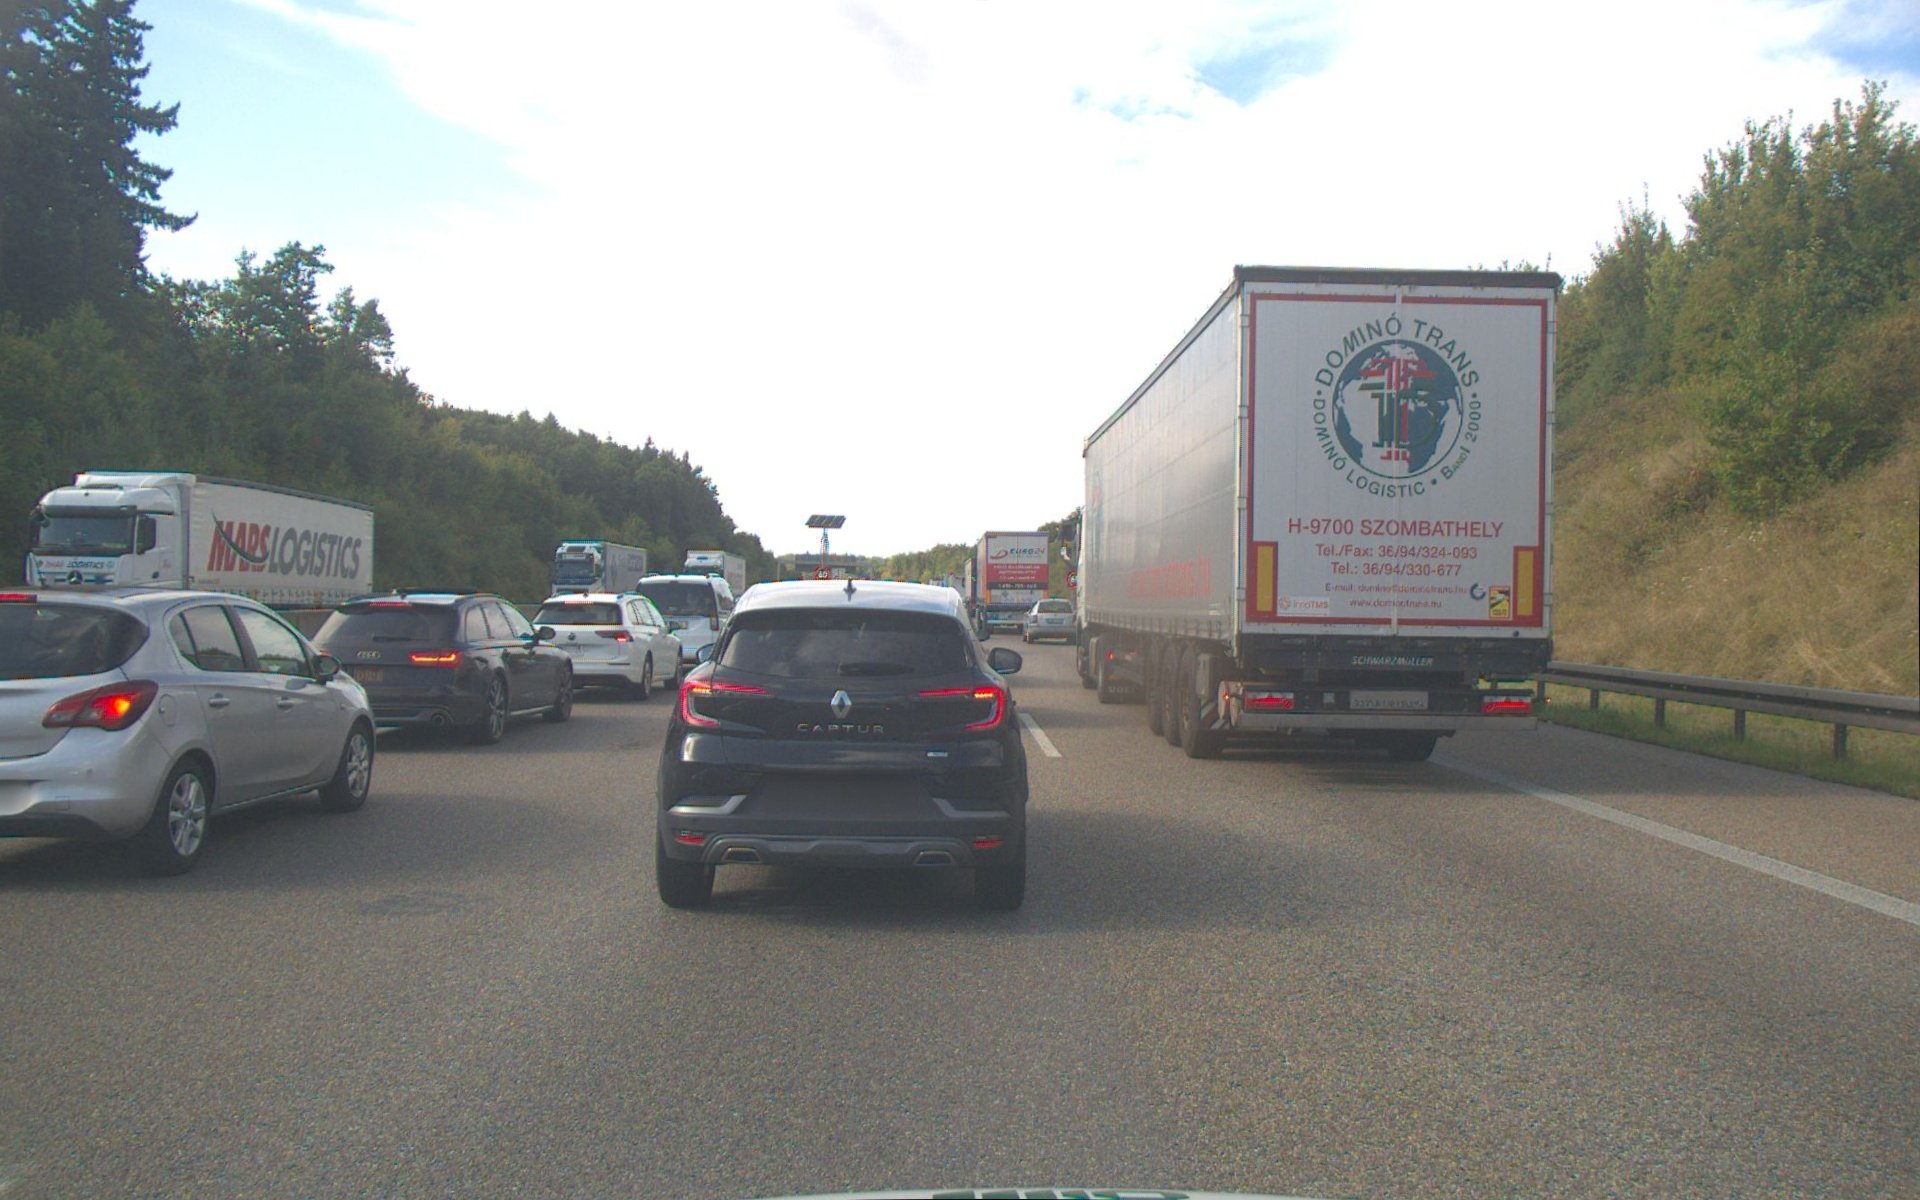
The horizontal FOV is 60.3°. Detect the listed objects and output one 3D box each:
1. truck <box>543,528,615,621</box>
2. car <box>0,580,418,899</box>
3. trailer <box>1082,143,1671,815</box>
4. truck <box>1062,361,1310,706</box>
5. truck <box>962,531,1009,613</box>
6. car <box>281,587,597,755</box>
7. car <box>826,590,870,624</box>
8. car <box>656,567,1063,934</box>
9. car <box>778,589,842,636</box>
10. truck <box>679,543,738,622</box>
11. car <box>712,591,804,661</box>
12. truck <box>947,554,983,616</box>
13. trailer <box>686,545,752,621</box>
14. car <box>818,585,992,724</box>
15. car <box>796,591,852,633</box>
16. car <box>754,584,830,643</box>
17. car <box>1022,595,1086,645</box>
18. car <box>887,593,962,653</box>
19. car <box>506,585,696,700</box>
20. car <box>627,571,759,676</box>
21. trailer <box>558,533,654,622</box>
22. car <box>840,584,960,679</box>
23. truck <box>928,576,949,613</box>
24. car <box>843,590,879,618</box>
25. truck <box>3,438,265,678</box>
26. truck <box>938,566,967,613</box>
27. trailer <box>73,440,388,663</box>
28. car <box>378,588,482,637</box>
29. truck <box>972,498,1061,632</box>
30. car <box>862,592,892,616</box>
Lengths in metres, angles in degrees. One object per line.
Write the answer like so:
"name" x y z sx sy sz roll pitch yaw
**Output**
"truck" -21.164 -1.368 92.076 2.872 4.943 4.764 1 -1 -1
"car" -4.693 0.635 9.736 1.711 1.491 4.040 0 0 -1
"trailer" 3.464 -0.882 18.437 2.941 4.742 13.287 1 0 -1
"truck" 3.324 -0.926 25.917 2.936 4.749 5.938 1 0 -1
"truck" 1.764 -1.896 120.129 3.102 5.601 12.736 1 0 0
"car" -5.229 0.631 17.325 1.805 1.481 4.747 1 0 0
"car" -5.666 0.352 84.039 1.953 1.641 4.000 1 0 0
"car" -0.385 0.656 9.220 1.767 1.579 4.001 0 0 2
"car" -5.463 0.460 60.744 1.953 1.641 3.999 1 0 0
"truck" -17.212 -1.157 113.604 3.025 5.190 7.139 1 0 -1
"car" -5.090 0.648 42.210 1.817 1.669 3.925 1 0 0
"truck" 0.557 -1.356 158.618 3.101 5.601 12.739 1 0 1
"trailer" -17.407 -1.127 120.599 3.025 5.162 13.830 1 0 -1
"car" -0.631 0.633 20.738 1.953 1.540 3.999 1 0 0
"car" -5.587 0.502 68.277 1.953 1.641 3.999 1 0 0
"car" -5.258 0.414 52.158 1.953 1.752 3.999 1 0 0
"car" 3.067 0.660 54.651 1.768 1.559 3.924 1 0 -2
"car" -0.931 0.623 45.404 1.953 1.540 3.999 1 0 0
"car" -5.069 0.573 23.940 1.767 1.486 4.308 1 0 0
"car" -4.986 0.431 31.412 1.873 1.821 4.416 1 0 -2
"trailer" -21.172 -1.211 99.924 2.867 4.914 14.650 1 0 -1
"car" -0.999 0.528 29.348 1.953 1.540 3.999 1 0 0
"truck" -3.430 -0.808 264.762 3.102 5.601 12.736 1 0 0
"car" -6.091 0.227 101.768 1.953 1.641 4.000 1 0 0
"truck" -20.035 -0.934 40.673 2.977 5.344 6.881 1 0 -1
"truck" -0.835 -1.179 193.270 3.102 5.250 12.736 1 0 0
"trailer" -20.140 -1.151 47.163 2.980 5.373 13.831 1 0 -1
"car" -16.627 0.363 52.120 1.914 1.453 4.323 1 0 -1
"truck" 2.248 -1.307 70.510 3.296 5.132 12.736 1 0 0
"car" -5.863 0.295 117.624 1.953 1.641 4.000 1 0 0
